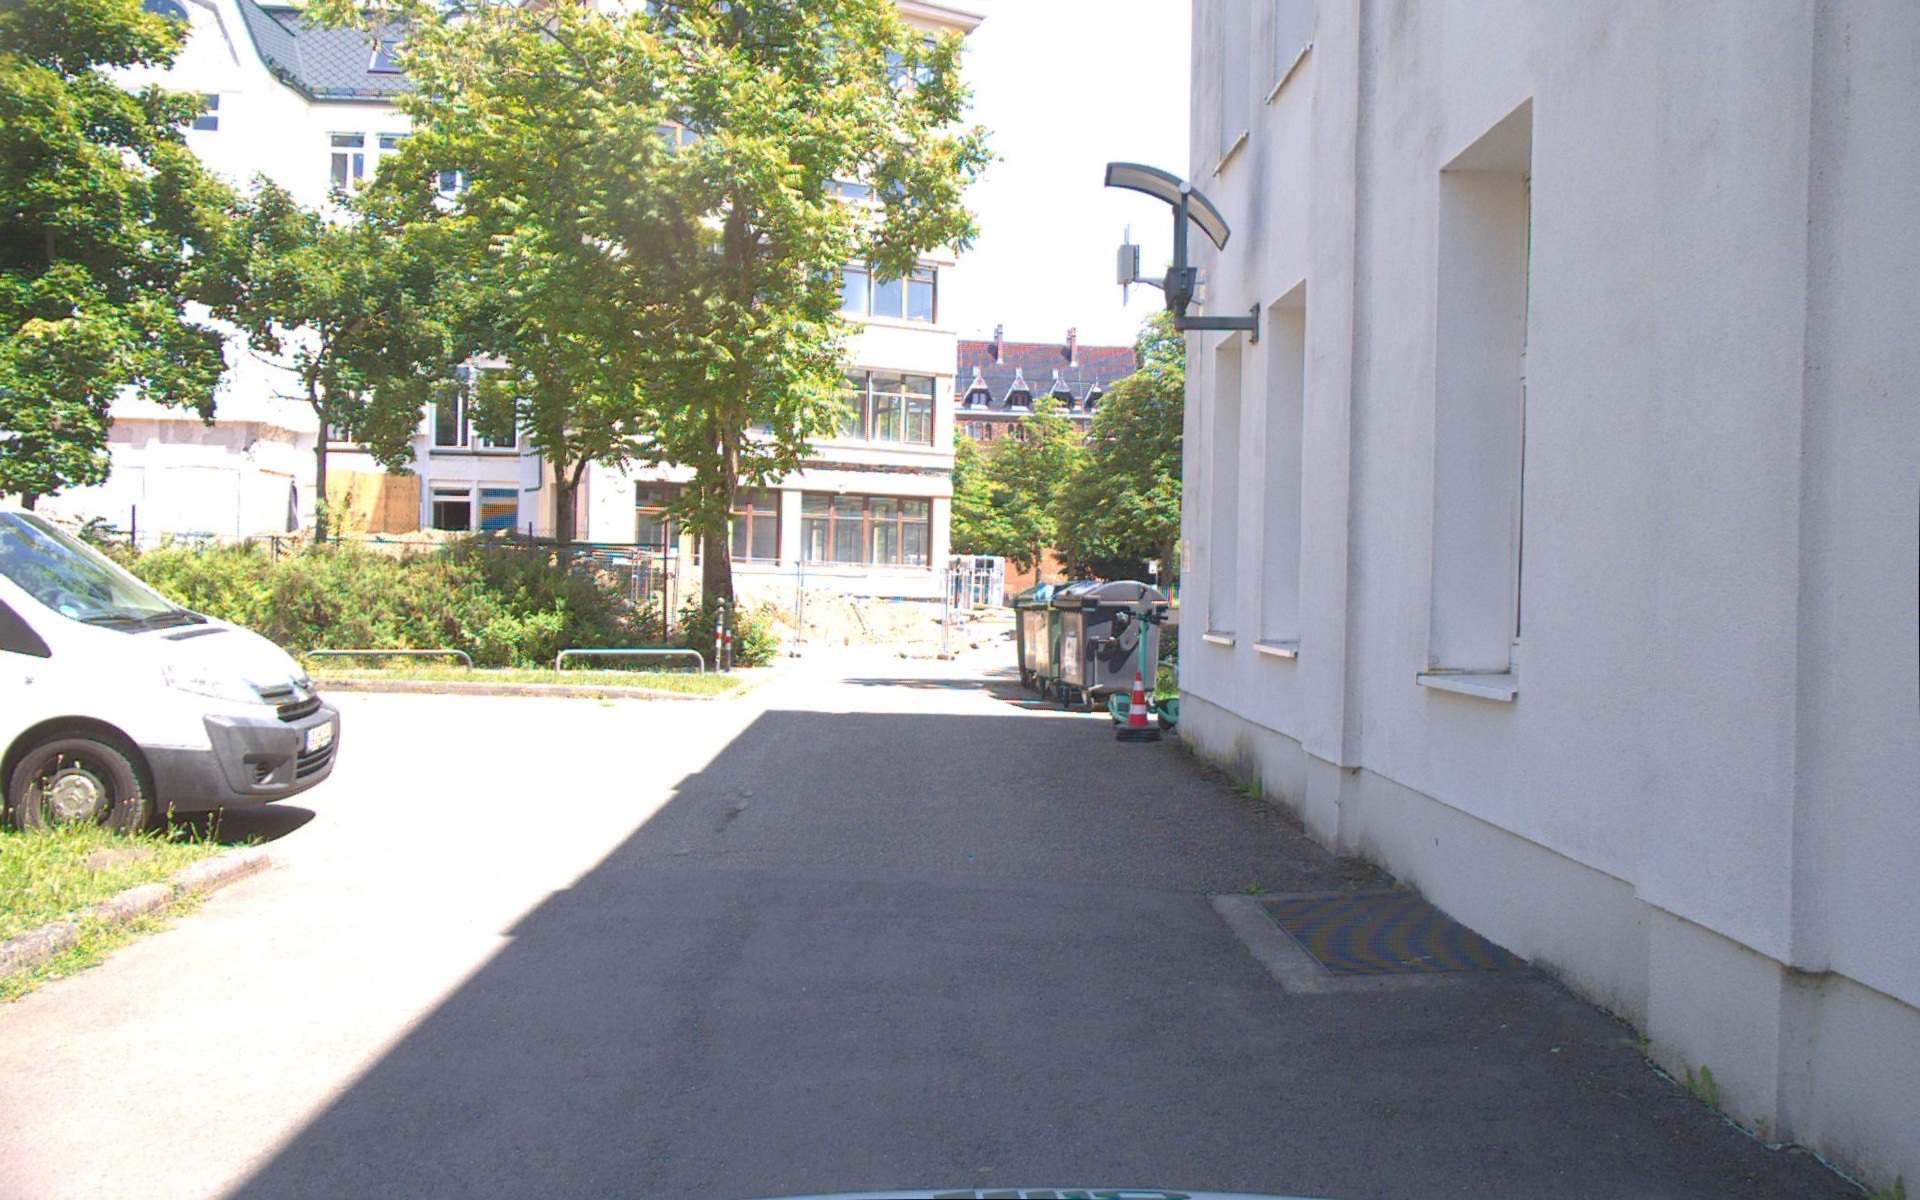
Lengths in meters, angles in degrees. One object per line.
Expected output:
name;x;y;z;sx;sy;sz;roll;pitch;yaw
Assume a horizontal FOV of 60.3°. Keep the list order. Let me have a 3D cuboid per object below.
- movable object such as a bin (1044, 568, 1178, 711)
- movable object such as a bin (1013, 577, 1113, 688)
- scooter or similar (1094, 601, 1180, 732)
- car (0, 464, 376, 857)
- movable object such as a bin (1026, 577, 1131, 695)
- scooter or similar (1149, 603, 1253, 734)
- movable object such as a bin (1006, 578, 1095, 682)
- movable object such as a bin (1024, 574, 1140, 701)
movable object such as a bin;1.689;0.444;18.801;1.134;1.532;1.459;2;-1;-11
movable object such as a bin;1.438;0.452;23.354;1.156;1.495;1.309;2;-1;-7
scooter or similar;1.693;0.619;16.010;0.455;1.194;1.354;1;0;-10
car;-5.877;0.270;9.051;4.697;1.944;1.997;0;1;-7
movable object such as a bin;1.552;0.468;21.916;1.156;1.495;1.310;2;-1;-6
scooter or similar;2.300;0.636;15.894;0.456;1.194;1.249;1;0;-19
movable object such as a bin;1.376;0.442;24.892;1.154;1.495;1.334;1;-1;9
movable object such as a bin;1.492;0.455;20.529;1.157;1.495;1.309;2;-1;-8
